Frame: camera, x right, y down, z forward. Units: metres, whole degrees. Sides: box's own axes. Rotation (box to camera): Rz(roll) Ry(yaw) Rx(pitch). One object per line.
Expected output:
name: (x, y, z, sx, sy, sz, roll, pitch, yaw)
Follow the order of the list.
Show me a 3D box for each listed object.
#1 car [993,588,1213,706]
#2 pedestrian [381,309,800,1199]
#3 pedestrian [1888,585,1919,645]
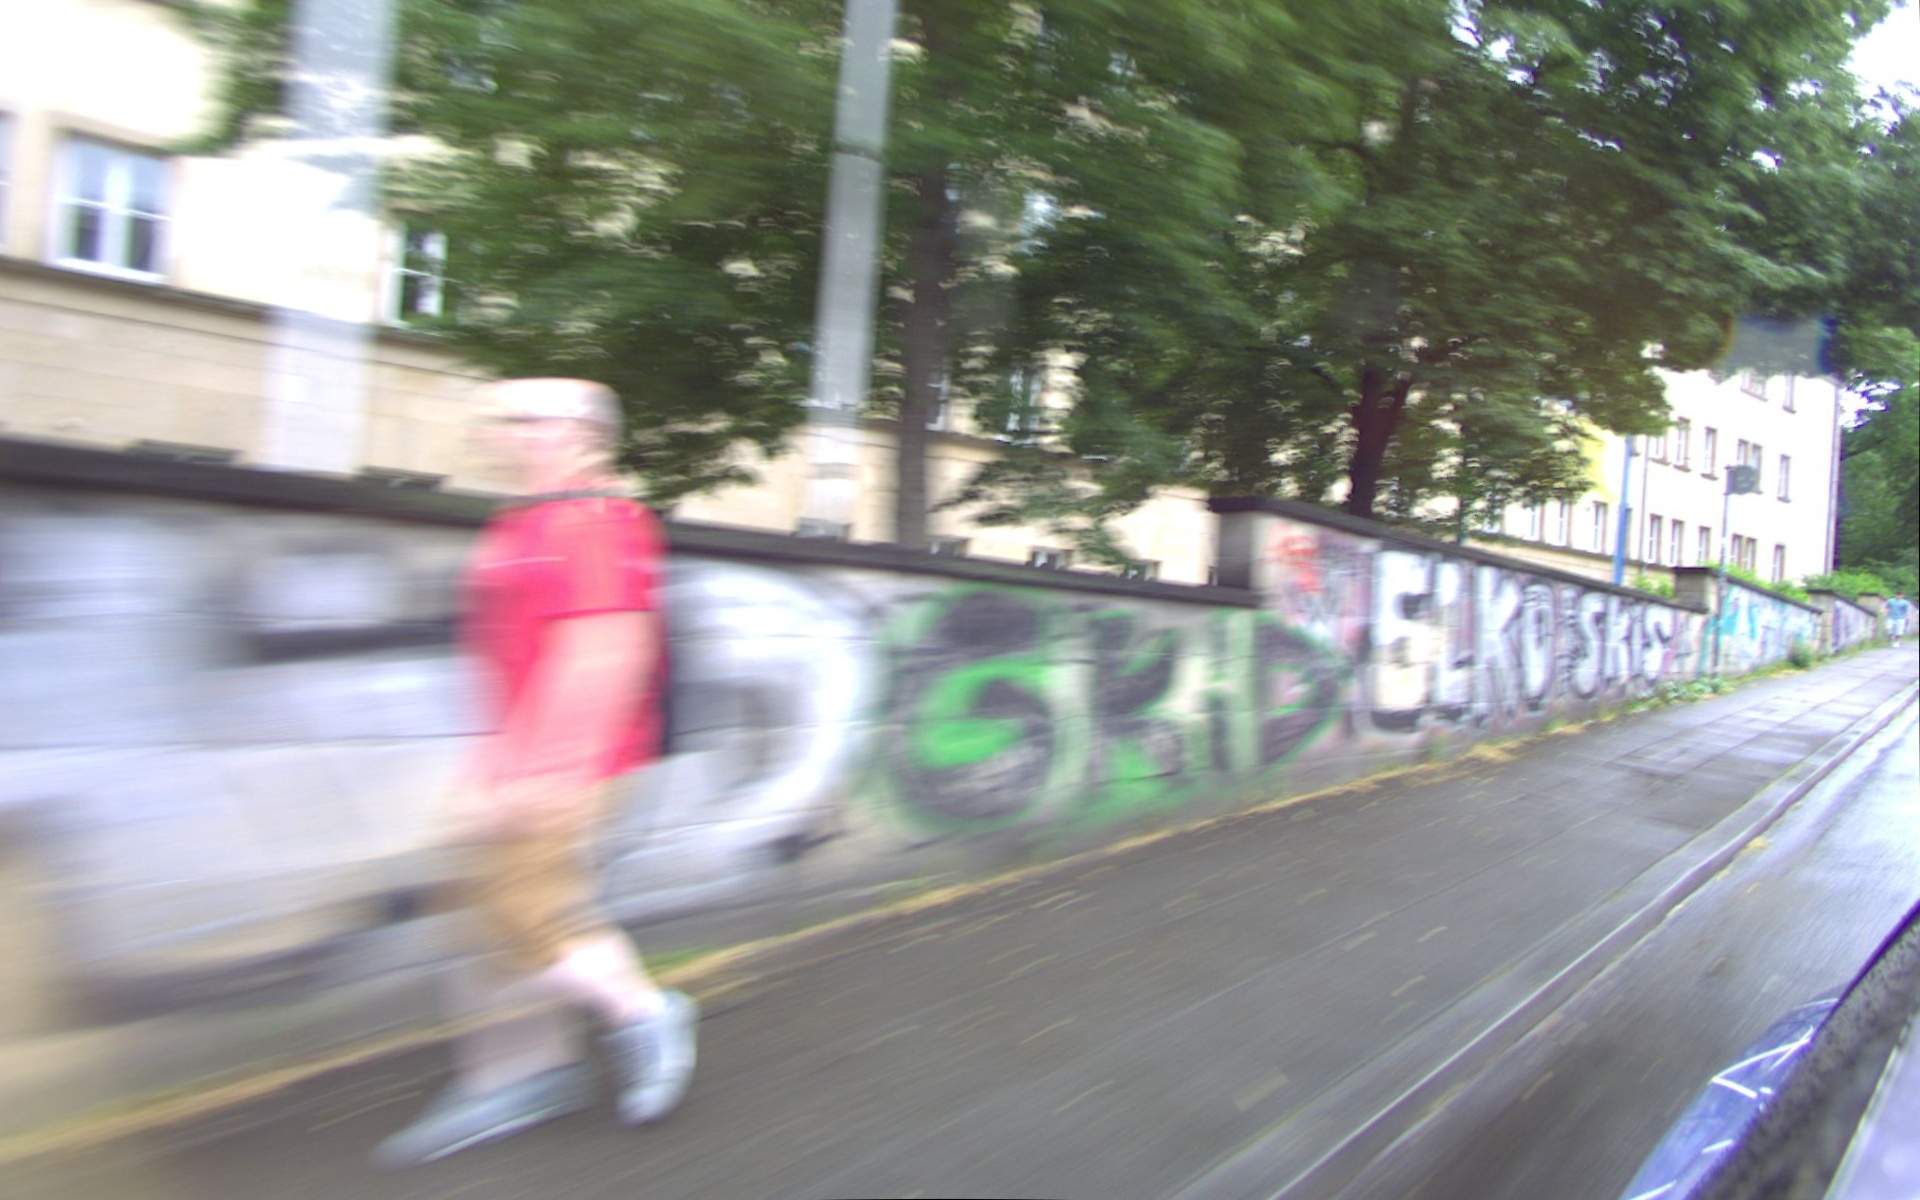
car: (2.477, 0.749, 18.592, 1.759, 1.815, 4.142, 1, 1, -31)
pedestrian: (-0.863, 0.322, 2.349, 0.699, 1.742, 0.633, 1, 2, -41)
pedestrian: (28.887, 0.459, 30.772, 0.724, 1.776, 0.721, 1, 2, -31)
